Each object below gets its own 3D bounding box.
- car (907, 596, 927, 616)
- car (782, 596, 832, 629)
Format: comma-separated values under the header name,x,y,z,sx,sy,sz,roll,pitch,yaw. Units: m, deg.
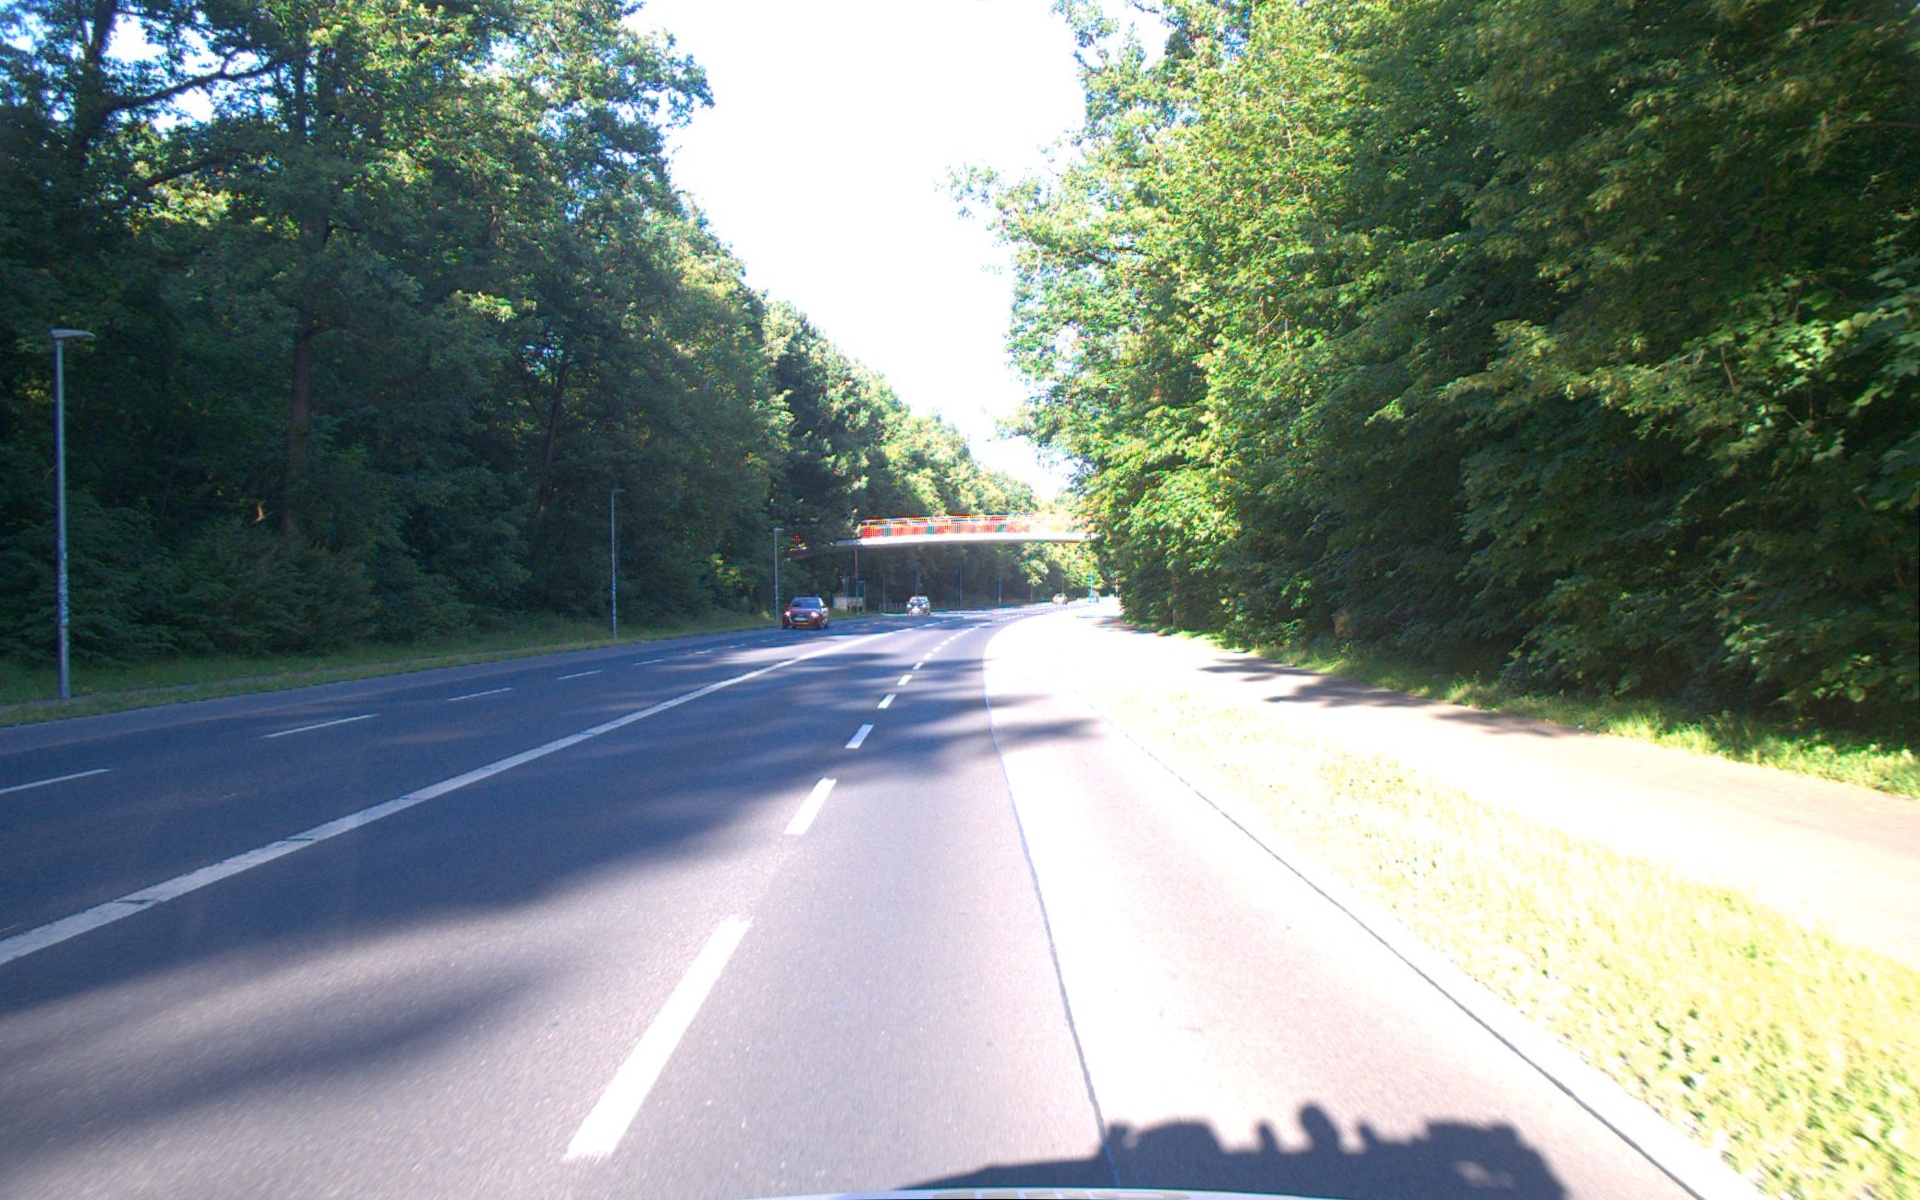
name,x,y,z,sx,sy,sz,roll,pitch,yaw
car,-3.290,0.444,127.808,1.465,1.470,3.500,0,0,-1
car,-6.780,0.534,73.453,1.674,1.448,4.132,0,0,2
